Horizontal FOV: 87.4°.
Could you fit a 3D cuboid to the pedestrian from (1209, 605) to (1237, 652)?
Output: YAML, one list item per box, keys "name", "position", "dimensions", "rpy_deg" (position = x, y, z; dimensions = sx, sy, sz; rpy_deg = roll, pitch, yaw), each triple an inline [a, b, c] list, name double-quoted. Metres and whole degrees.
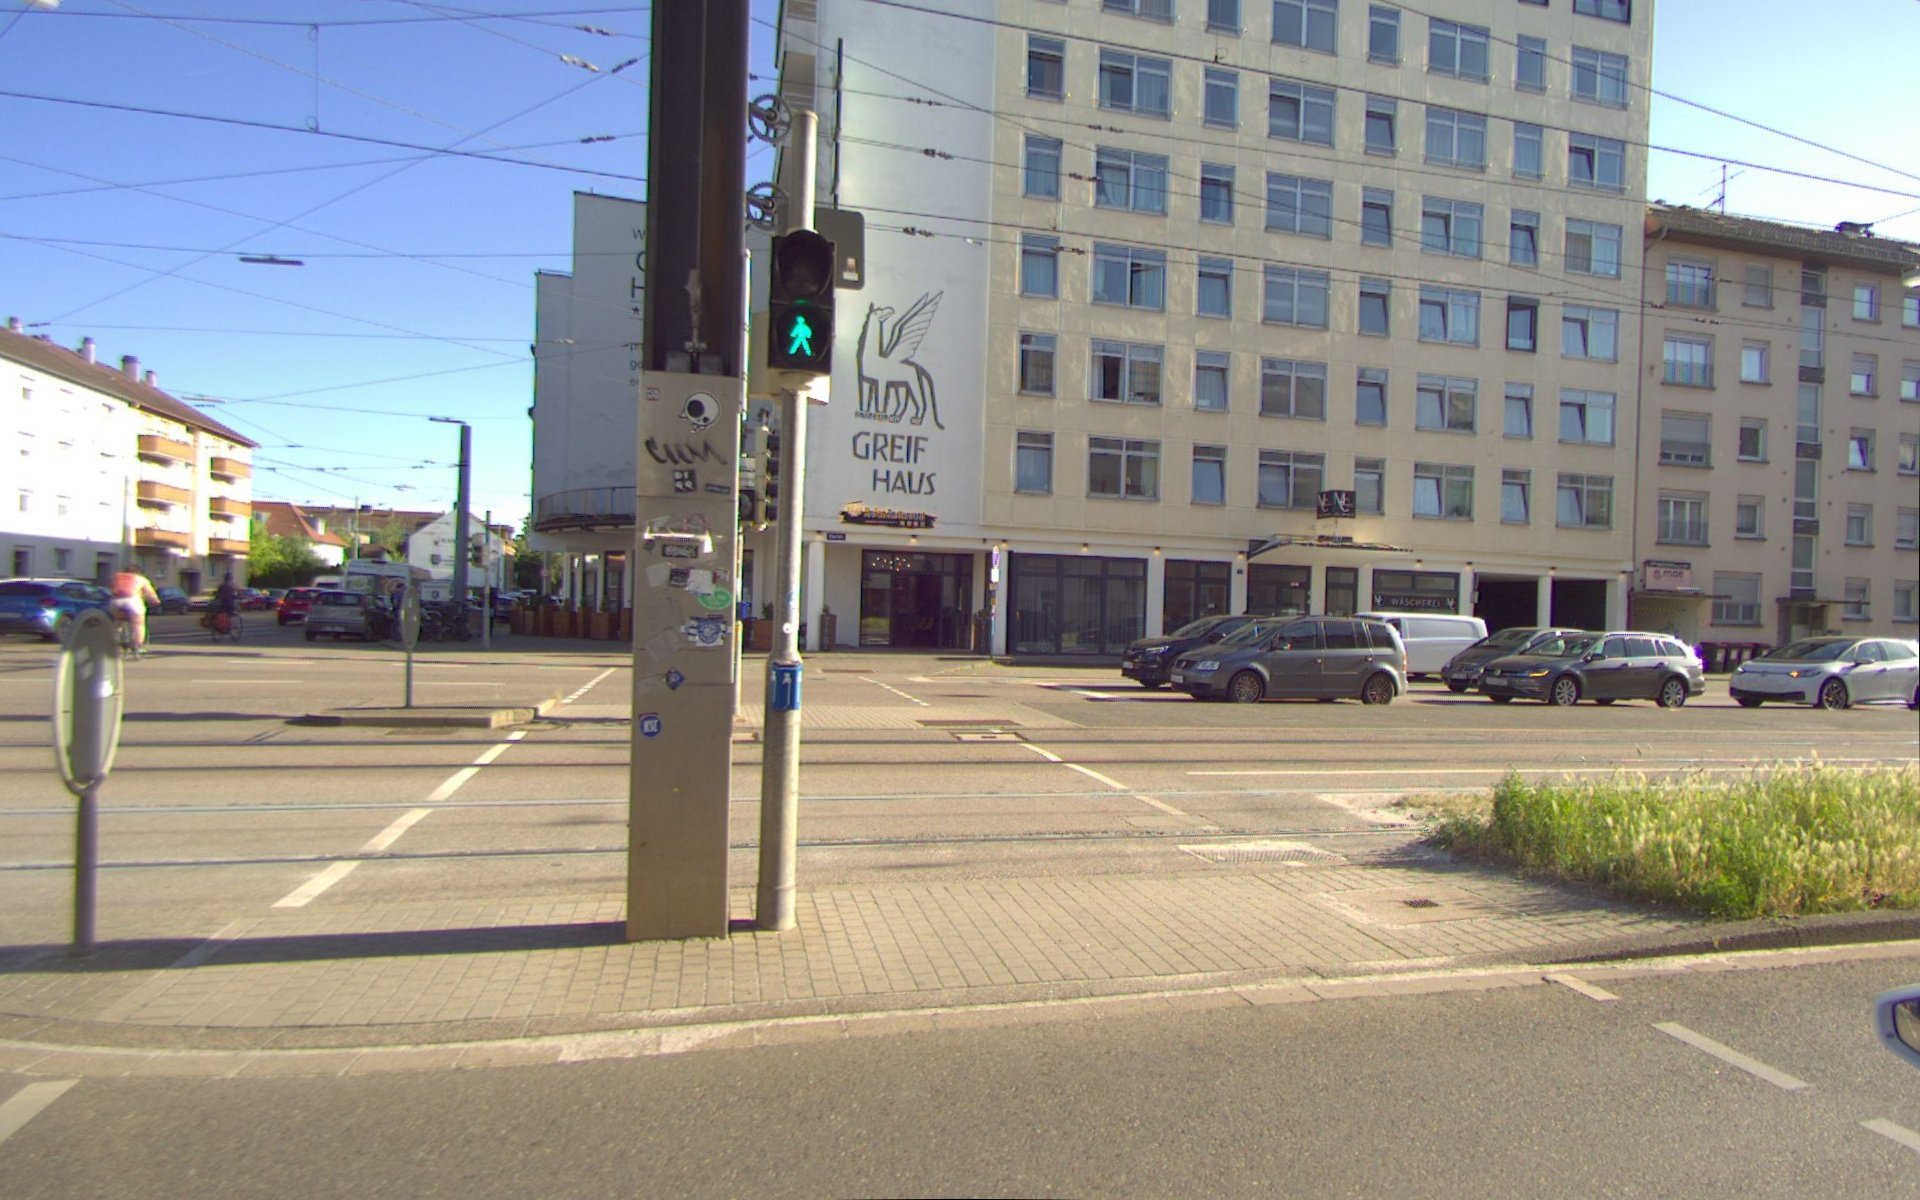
- name: "pedestrian"
  position: [8.078, 0.885, 30.841]
  dimensions: [0.595, 1.394, 0.497]
  rpy_deg: [4, -1, -28]

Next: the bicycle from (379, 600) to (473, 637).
- name: "bicycle"
  position: [-15.084, 0.530, 28.457]
  dimensions: [2.223, 1.015, 0.853]
  rpy_deg: [1, 0, -18]

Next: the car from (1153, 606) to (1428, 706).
- name: "car"
  position: [5.956, 1.004, 18.292]
  dimensions: [4.376, 1.568, 1.932]
  rpy_deg: [3, -1, -12]

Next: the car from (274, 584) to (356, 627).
- name: "car"
  position: [-25.891, 0.194, 40.475]
  dimensions: [1.762, 1.542, 3.747]
  rpy_deg: [4, 0, -17]

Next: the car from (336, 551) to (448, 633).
- name: "car"
  position: [-19.438, -0.249, 34.632]
  dimensions: [2.237, 2.514, 4.989]
  rpy_deg: [3, -1, -17]

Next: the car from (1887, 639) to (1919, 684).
- name: "car"
  position: [33.482, 2.105, 33.557]
  dimensions: [3.986, 1.454, 1.777]
  rpy_deg: [2, -1, -13]

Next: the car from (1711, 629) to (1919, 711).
- name: "car"
  position: [18.470, 1.475, 21.362]
  dimensions: [4.174, 1.535, 1.838]
  rpy_deg: [3, -1, -16]

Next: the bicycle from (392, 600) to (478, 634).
- name: "bicycle"
  position: [-16.050, 0.516, 30.773]
  dimensions: [2.223, 1.015, 0.853]
  rpy_deg: [1, 0, -18]

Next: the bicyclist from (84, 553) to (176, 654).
- name: "bicyclist"
  position: [-14.778, 0.069, 17.916]
  dimensions: [0.799, 1.714, 0.934]
  rpy_deg: [4, -1, -8]

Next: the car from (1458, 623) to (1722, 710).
- name: "car"
  position: [12.549, 1.310, 20.080]
  dimensions: [4.463, 1.511, 1.820]
  rpy_deg: [3, -1, -13]

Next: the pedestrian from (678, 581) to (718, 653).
- name: "pedestrian"
  position: [-6.773, 0.442, 25.954]
  dimensions: [0.895, 1.769, 0.735]
  rpy_deg: [4, -1, -16]

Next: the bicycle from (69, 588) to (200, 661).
- name: "bicycle"
  position: [-14.828, 0.438, 18.131]
  dimensions: [0.799, 1.197, 2.061]
  rpy_deg: [4, -1, -8]

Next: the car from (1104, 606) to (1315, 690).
- name: "car"
  position: [5.308, 1.014, 21.479]
  dimensions: [3.979, 1.596, 1.789]
  rpy_deg: [3, -1, -16]

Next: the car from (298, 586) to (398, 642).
- name: "car"
  position: [-18.083, 0.395, 29.844]
  dimensions: [1.637, 1.450, 3.872]
  rpy_deg: [4, -1, -19]

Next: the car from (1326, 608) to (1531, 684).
- name: "car"
  position: [13.461, 1.305, 28.928]
  dimensions: [5.237, 1.894, 1.942]
  rpy_deg: [2, 2, -14]

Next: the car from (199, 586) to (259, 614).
- name: "car"
  position: [-47.033, 0.005, 64.736]
  dimensions: [1.846, 1.597, 3.984]
  rpy_deg: [4, -1, -18]

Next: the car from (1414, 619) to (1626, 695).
- name: "car"
  position: [13.371, 1.353, 24.041]
  dimensions: [4.252, 1.596, 1.983]
  rpy_deg: [3, -1, -16]

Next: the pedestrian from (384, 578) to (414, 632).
- name: "pedestrian"
  position: [-17.919, 0.161, 32.095]
  dimensions: [0.605, 1.675, 0.668]
  rpy_deg: [4, -1, -18]

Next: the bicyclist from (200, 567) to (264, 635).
- name: "bicyclist"
  position: [-19.088, 0.023, 26.376]
  dimensions: [0.928, 1.695, 1.076]
  rpy_deg: [4, -1, -14]

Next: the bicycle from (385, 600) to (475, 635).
- name: "bicycle"
  position: [-15.648, 0.513, 29.726]
  dimensions: [2.223, 1.015, 0.853]
  rpy_deg: [1, 0, -18]

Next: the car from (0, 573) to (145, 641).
- name: "car"
  position: [-21.592, 0.145, 24.110]
  dimensions: [1.713, 1.471, 3.651]
  rpy_deg: [3, -1, -15]

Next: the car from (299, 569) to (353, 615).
- name: "car"
  position: [-47.743, -0.566, 75.728]
  dimensions: [2.386, 3.183, 3.477]
  rpy_deg: [4, -1, -16]

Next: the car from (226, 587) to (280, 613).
- name: "car"
  position: [-48.691, 0.000, 69.225]
  dimensions: [1.846, 1.597, 3.984]
  rpy_deg: [4, -1, -18]

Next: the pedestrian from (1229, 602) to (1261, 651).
- name: "pedestrian"
  position: [8.583, 0.794, 30.213]
  dimensions: [0.524, 1.394, 0.678]
  rpy_deg: [4, -1, -35]

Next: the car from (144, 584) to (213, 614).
- name: "car"
  position: [-45.717, -0.043, 58.832]
  dimensions: [1.846, 1.597, 3.984]
  rpy_deg: [4, -1, -18]

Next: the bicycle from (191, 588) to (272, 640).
- name: "bicycle"
  position: [-19.101, 0.362, 26.403]
  dimensions: [0.928, 1.239, 2.089]
  rpy_deg: [4, -1, -14]
